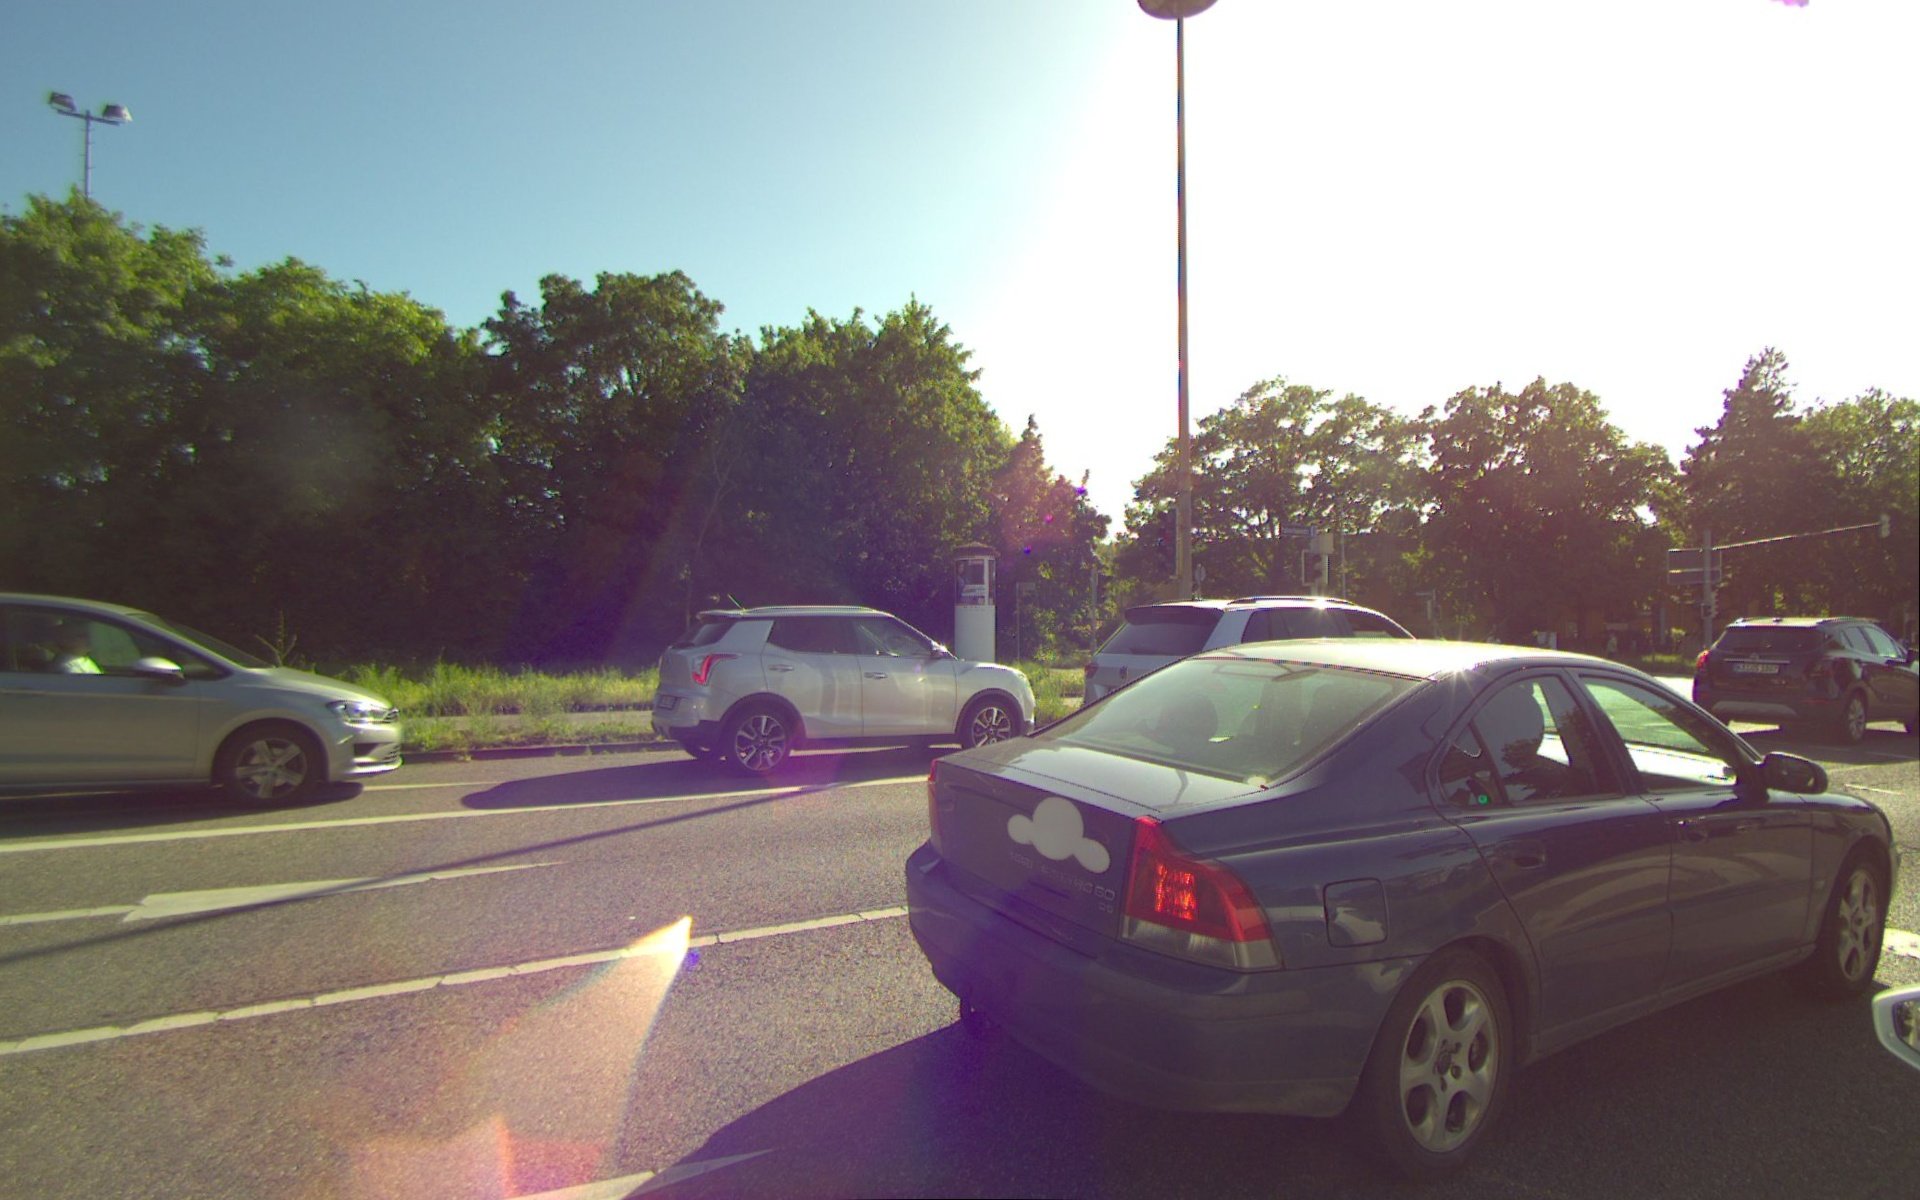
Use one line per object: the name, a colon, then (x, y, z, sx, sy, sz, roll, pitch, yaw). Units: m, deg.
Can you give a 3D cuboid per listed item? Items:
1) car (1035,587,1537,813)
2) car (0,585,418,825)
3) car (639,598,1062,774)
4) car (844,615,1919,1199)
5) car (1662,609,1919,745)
car: (3.052, 0.793, 9.301, 4.309, 1.675, 1.936, 2, 0, -27)
car: (-6.558, 0.729, 7.665, 4.194, 1.595, 1.865, 2, -2, -30)
car: (-1.114, 0.854, 10.779, 4.146, 1.558, 1.822, 2, -3, -30)
car: (1.895, 0.833, 4.004, 4.315, 1.413, 1.827, 2, 0, -31)
car: (12.305, 1.032, 14.510, 4.314, 1.675, 1.901, 2, 0, -30)
